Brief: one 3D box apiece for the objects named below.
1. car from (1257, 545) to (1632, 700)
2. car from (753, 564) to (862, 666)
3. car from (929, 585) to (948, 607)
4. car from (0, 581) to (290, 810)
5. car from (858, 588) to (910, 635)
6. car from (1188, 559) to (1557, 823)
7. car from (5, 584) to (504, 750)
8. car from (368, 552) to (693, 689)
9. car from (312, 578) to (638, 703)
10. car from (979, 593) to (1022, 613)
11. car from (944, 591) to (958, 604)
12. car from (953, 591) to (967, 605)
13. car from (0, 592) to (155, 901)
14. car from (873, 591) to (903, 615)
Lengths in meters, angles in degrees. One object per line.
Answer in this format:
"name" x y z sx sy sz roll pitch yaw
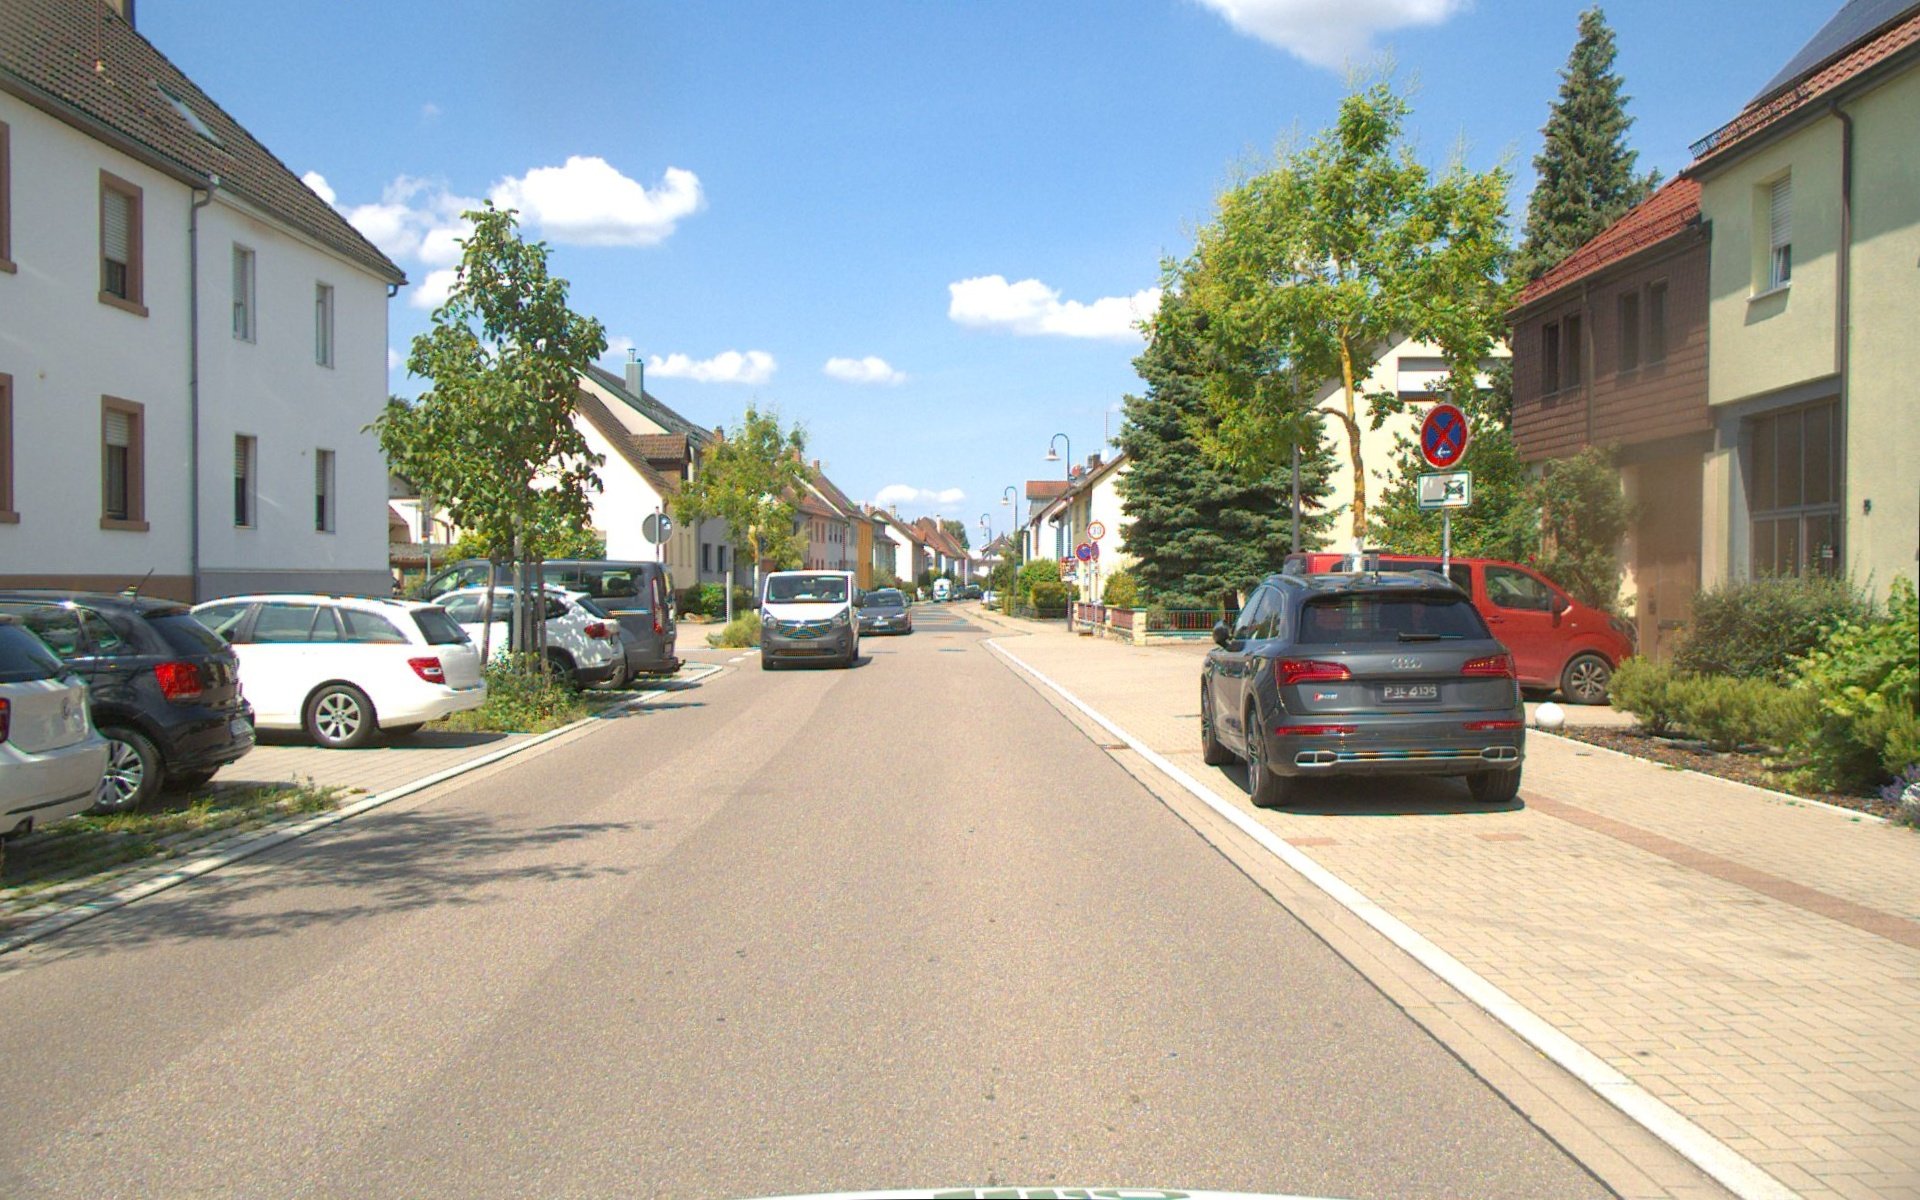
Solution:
"car" 6.563 0.310 22.752 4.526 1.927 2.019 1 -1 -3
"car" -3.092 0.309 34.494 1.982 1.984 4.896 0 0 -2
"car" -2.455 -0.437 190.234 2.002 2.352 3.772 2 -1 3
"car" -6.892 0.618 11.521 3.808 1.493 1.655 1 -1 -10
"car" -2.650 0.379 58.191 1.727 1.549 4.047 -2 0 -2
"car" 3.003 0.565 13.043 1.826 1.664 4.447 -2 1 1
"car" -6.948 0.640 16.599 4.207 1.493 1.774 1 -1 0
"car" -6.716 0.318 26.240 4.605 1.957 1.937 2 -1 -2
"car" -6.771 0.560 23.452 4.101 1.596 1.772 2 -1 -5
"car" 3.295 0.270 136.285 3.452 1.490 1.628 2 -1 -1
"car" -1.158 -0.346 212.261 1.656 1.530 3.772 2 -1 3
"car" 0.002 -0.255 219.759 1.656 1.689 3.772 2 -1 3
"car" -6.630 0.679 8.621 3.997 1.493 1.749 1 0 -10
"car" -5.230 0.223 120.259 1.811 1.688 4.001 2 0 2
